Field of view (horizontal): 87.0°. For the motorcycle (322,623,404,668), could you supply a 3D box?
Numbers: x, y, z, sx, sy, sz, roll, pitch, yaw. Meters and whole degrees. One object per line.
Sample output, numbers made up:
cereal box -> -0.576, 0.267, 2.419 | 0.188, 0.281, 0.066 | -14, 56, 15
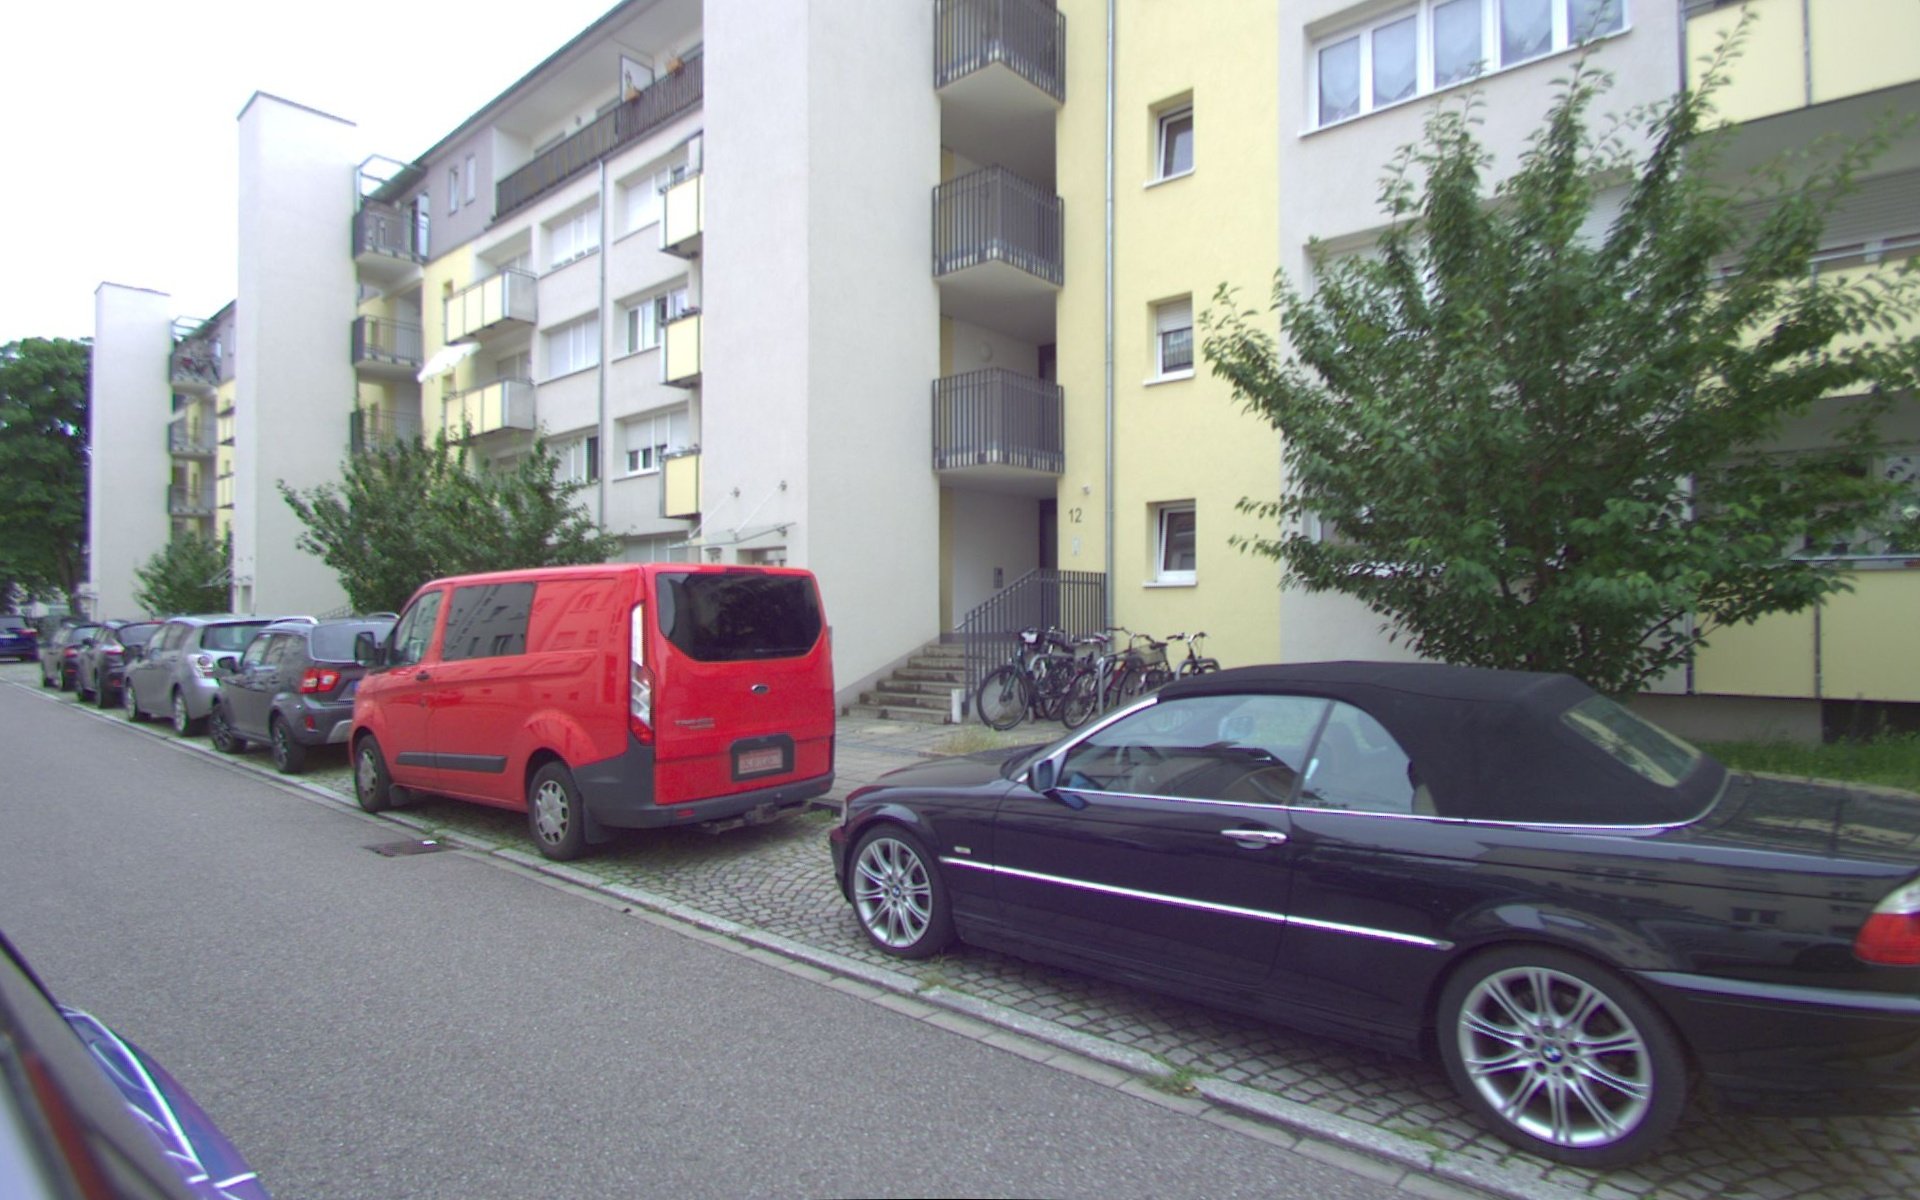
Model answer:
motorcycle -> -15.543, 1.179, 26.400 | 0.593, 1.138, 1.732 | -1, -3, 37

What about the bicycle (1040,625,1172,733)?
bicycle -> 1.715, 0.867, 11.669 | 0.570, 1.127, 1.814 | -2, -1, 43

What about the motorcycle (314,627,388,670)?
motorcycle -> -16.840, 1.326, 28.003 | 0.689, 1.138, 1.600 | -1, -3, 37

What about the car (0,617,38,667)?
car -> -33.161, 1.425, 34.737 | 4.470, 1.639, 1.781 | -1, -1, 41

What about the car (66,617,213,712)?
car -> -15.458, 1.127, 19.002 | 3.895, 1.542, 1.635 | -1, 0, 44

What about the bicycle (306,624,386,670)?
bicycle -> -16.156, 1.223, 26.660 | 0.608, 1.151, 1.707 | -1, -2, 37

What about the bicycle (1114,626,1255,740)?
bicycle -> 2.482, 0.859, 11.064 | 1.812, 1.127, 0.571 | 0, -2, -43

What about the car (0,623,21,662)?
car -> -37.511, 1.635, 38.800 | 3.813, 1.456, 1.605 | -1, 0, 38

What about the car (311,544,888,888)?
car -> -3.116, 0.680, 8.172 | 4.916, 1.968, 2.130 | -1, 0, 39

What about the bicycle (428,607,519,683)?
bicycle -> -8.039, 0.734, 16.705 | 1.724, 1.201, 0.547 | -1, -2, 34

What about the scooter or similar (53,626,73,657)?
scooter or similar -> -36.739, 1.674, 41.443 | 1.135, 1.253, 0.432 | -1, -2, 41

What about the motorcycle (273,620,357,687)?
motorcycle -> -13.642, 1.108, 21.373 | 2.419, 1.317, 0.860 | -2, 0, 42

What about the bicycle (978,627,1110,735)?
bicycle -> 1.018, 0.907, 11.889 | 0.604, 1.127, 1.816 | -1, -1, 40

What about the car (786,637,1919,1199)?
car -> 1.402, 0.884, 4.300 | 4.358, 1.333, 1.851 | -1, 0, 40

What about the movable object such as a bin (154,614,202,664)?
movable object such as a bin -> -24.748, 1.223, 32.022 | 1.314, 1.512, 0.991 | -1, -1, 42

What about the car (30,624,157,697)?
car -> -19.572, 1.287, 22.813 | 3.855, 1.449, 1.626 | -1, 0, 41

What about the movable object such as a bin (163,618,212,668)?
movable object such as a bin -> -23.709, 1.305, 31.055 | 1.314, 1.458, 0.991 | -1, -1, 42

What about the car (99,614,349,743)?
car -> -11.081, 1.039, 15.091 | 4.856, 1.582, 1.817 | -1, 0, 39

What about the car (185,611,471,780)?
car -> -7.416, 0.955, 11.713 | 4.052, 1.582, 1.703 | -1, 0, 41
